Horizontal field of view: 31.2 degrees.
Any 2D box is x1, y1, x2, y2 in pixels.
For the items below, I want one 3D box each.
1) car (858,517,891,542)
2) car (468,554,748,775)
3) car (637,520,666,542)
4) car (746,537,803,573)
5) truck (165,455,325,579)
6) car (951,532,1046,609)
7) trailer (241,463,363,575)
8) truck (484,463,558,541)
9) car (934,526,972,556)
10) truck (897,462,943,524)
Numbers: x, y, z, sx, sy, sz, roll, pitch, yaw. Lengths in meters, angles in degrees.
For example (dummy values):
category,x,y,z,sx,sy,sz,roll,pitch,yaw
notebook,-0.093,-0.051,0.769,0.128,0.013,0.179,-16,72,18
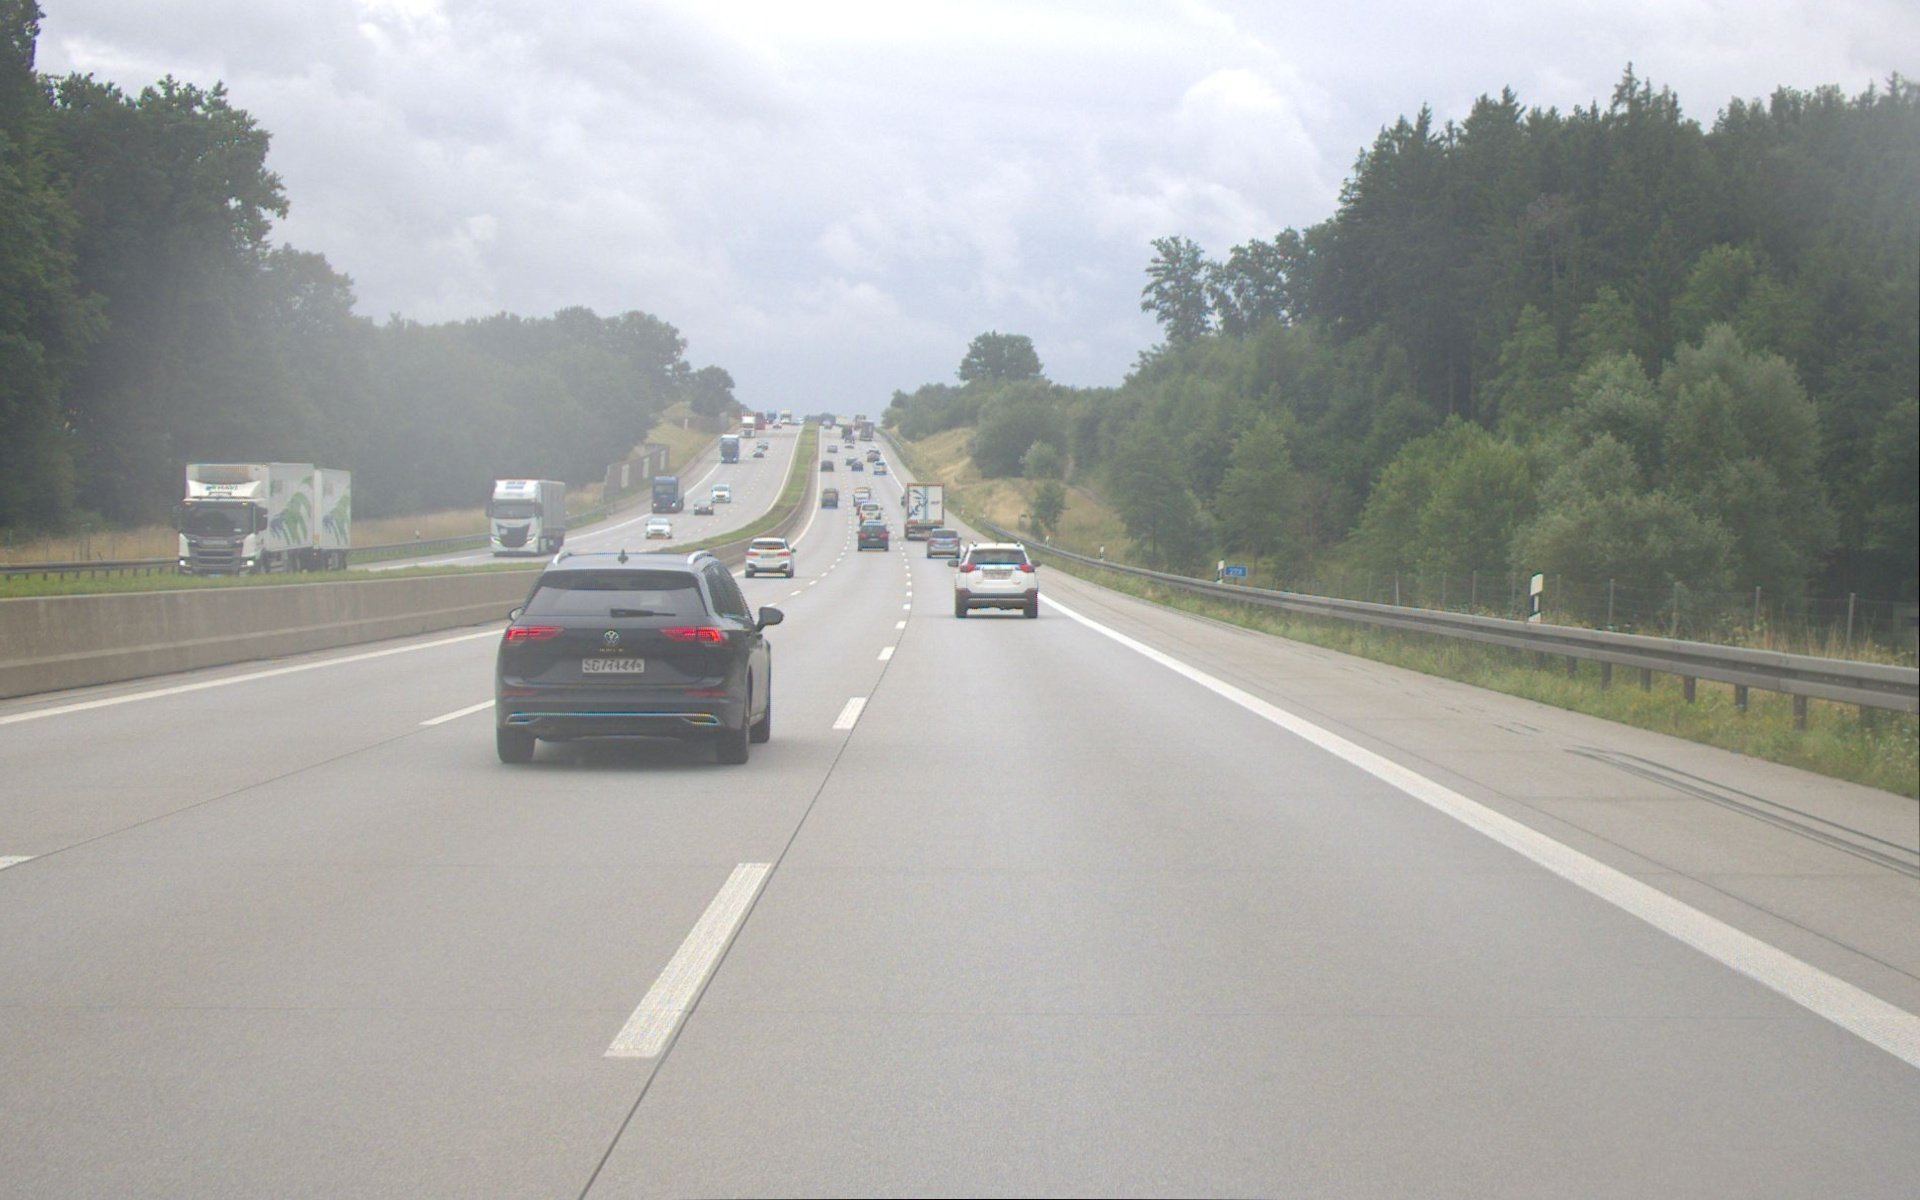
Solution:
category,x,y,z,sx,sy,sz,roll,pitch,yaw
car,-5.173,-4.277,207.867,1.935,1.370,4.595,1,2,-1
car,-2.438,0.393,24.735,1.752,1.393,4.485,1,1,-3
car,-21.909,-4.922,244.224,1.783,1.463,4.372,0,2,-2
car,-7.304,-1.775,135.374,1.947,1.351,4.259,1,1,1
truck,-23.033,-2.664,111.426,2.813,3.760,11.351,1,1,0
car,0.834,-0.676,76.495,1.825,1.650,3.986,1,1,-3
trailer,-23.075,-2.875,120.974,2.818,3.770,7.716,1,1,0
truck,-23.684,-5.290,185.639,3.212,4.043,7.167,1,1,-1
car,-0.380,-3.207,187.152,1.993,1.525,4.000,3,1,0
truck,-2.859,-7.660,245.105,3.017,4.165,8.356,1,3,-2
